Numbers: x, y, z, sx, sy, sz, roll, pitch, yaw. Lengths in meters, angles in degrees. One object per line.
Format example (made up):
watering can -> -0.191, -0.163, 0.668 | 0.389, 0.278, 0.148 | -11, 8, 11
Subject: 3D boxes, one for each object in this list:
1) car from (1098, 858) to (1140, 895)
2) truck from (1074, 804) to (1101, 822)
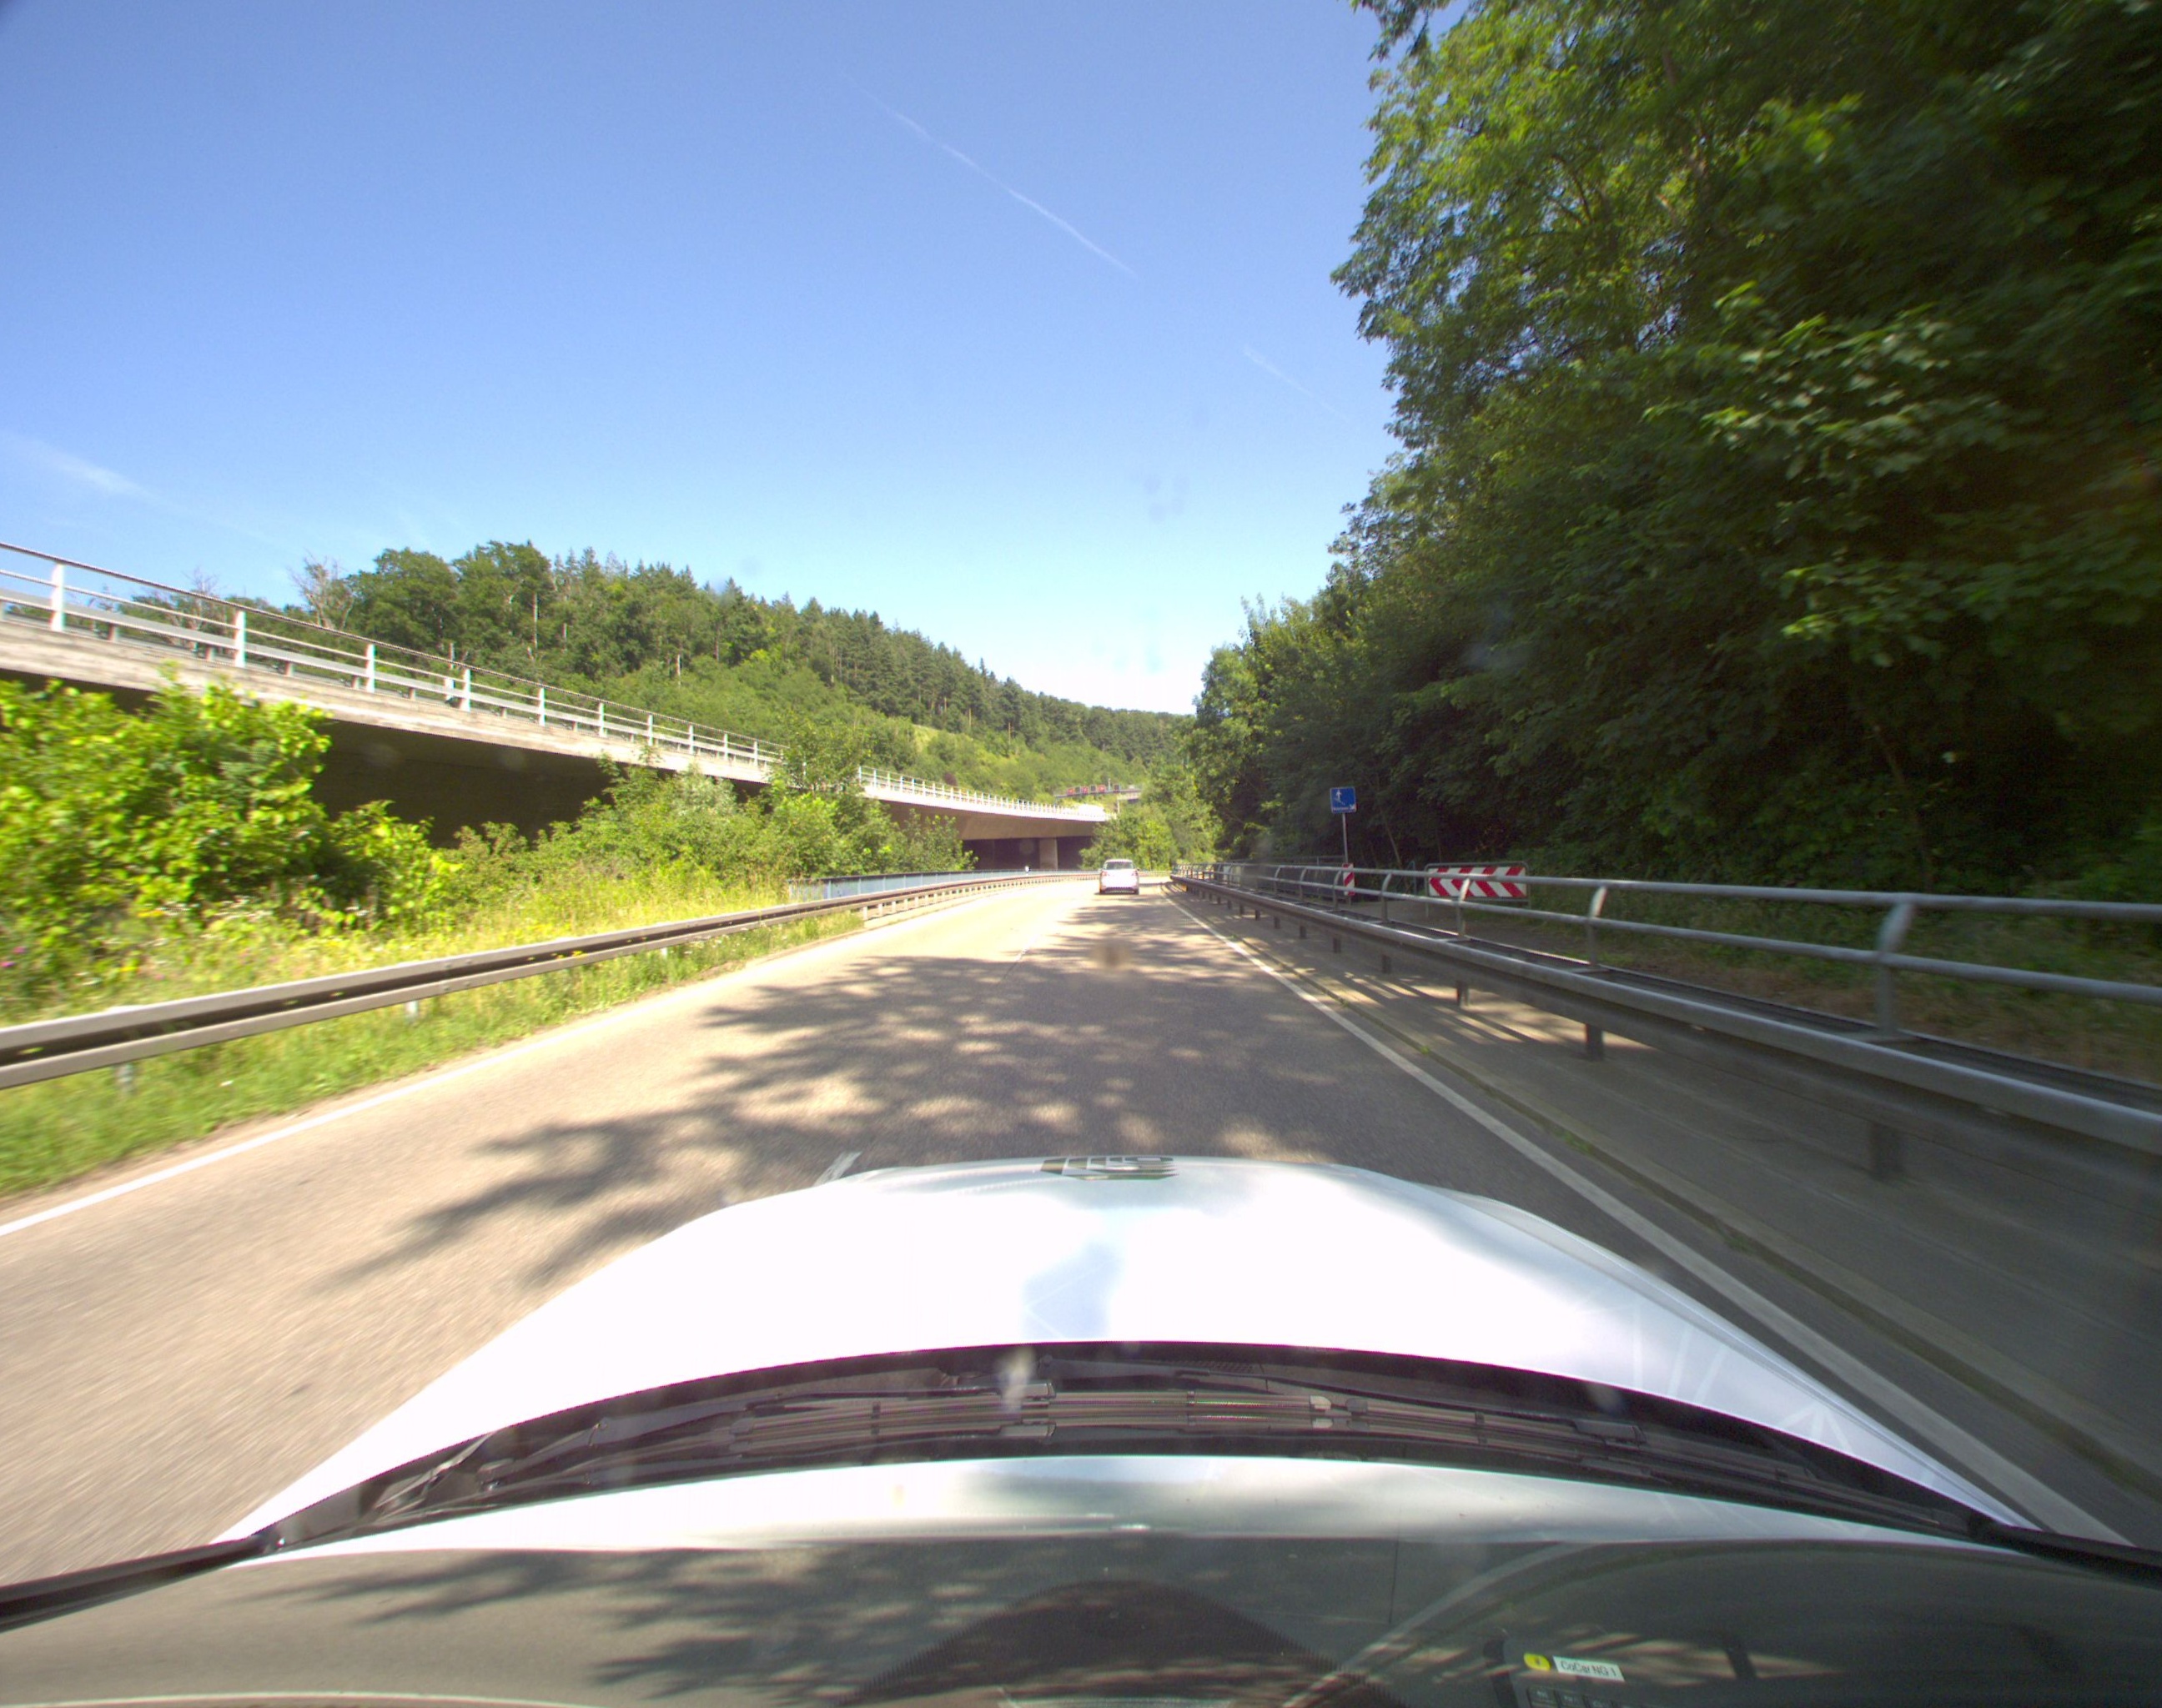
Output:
car -> 1.709, 0.967, 36.591 | 1.744, 1.520, 4.162 | -1, 0, 3
truck -> 1.445, -8.571, 169.906 | 3.346, 3.354, 10.216 | -1, 1, 14
